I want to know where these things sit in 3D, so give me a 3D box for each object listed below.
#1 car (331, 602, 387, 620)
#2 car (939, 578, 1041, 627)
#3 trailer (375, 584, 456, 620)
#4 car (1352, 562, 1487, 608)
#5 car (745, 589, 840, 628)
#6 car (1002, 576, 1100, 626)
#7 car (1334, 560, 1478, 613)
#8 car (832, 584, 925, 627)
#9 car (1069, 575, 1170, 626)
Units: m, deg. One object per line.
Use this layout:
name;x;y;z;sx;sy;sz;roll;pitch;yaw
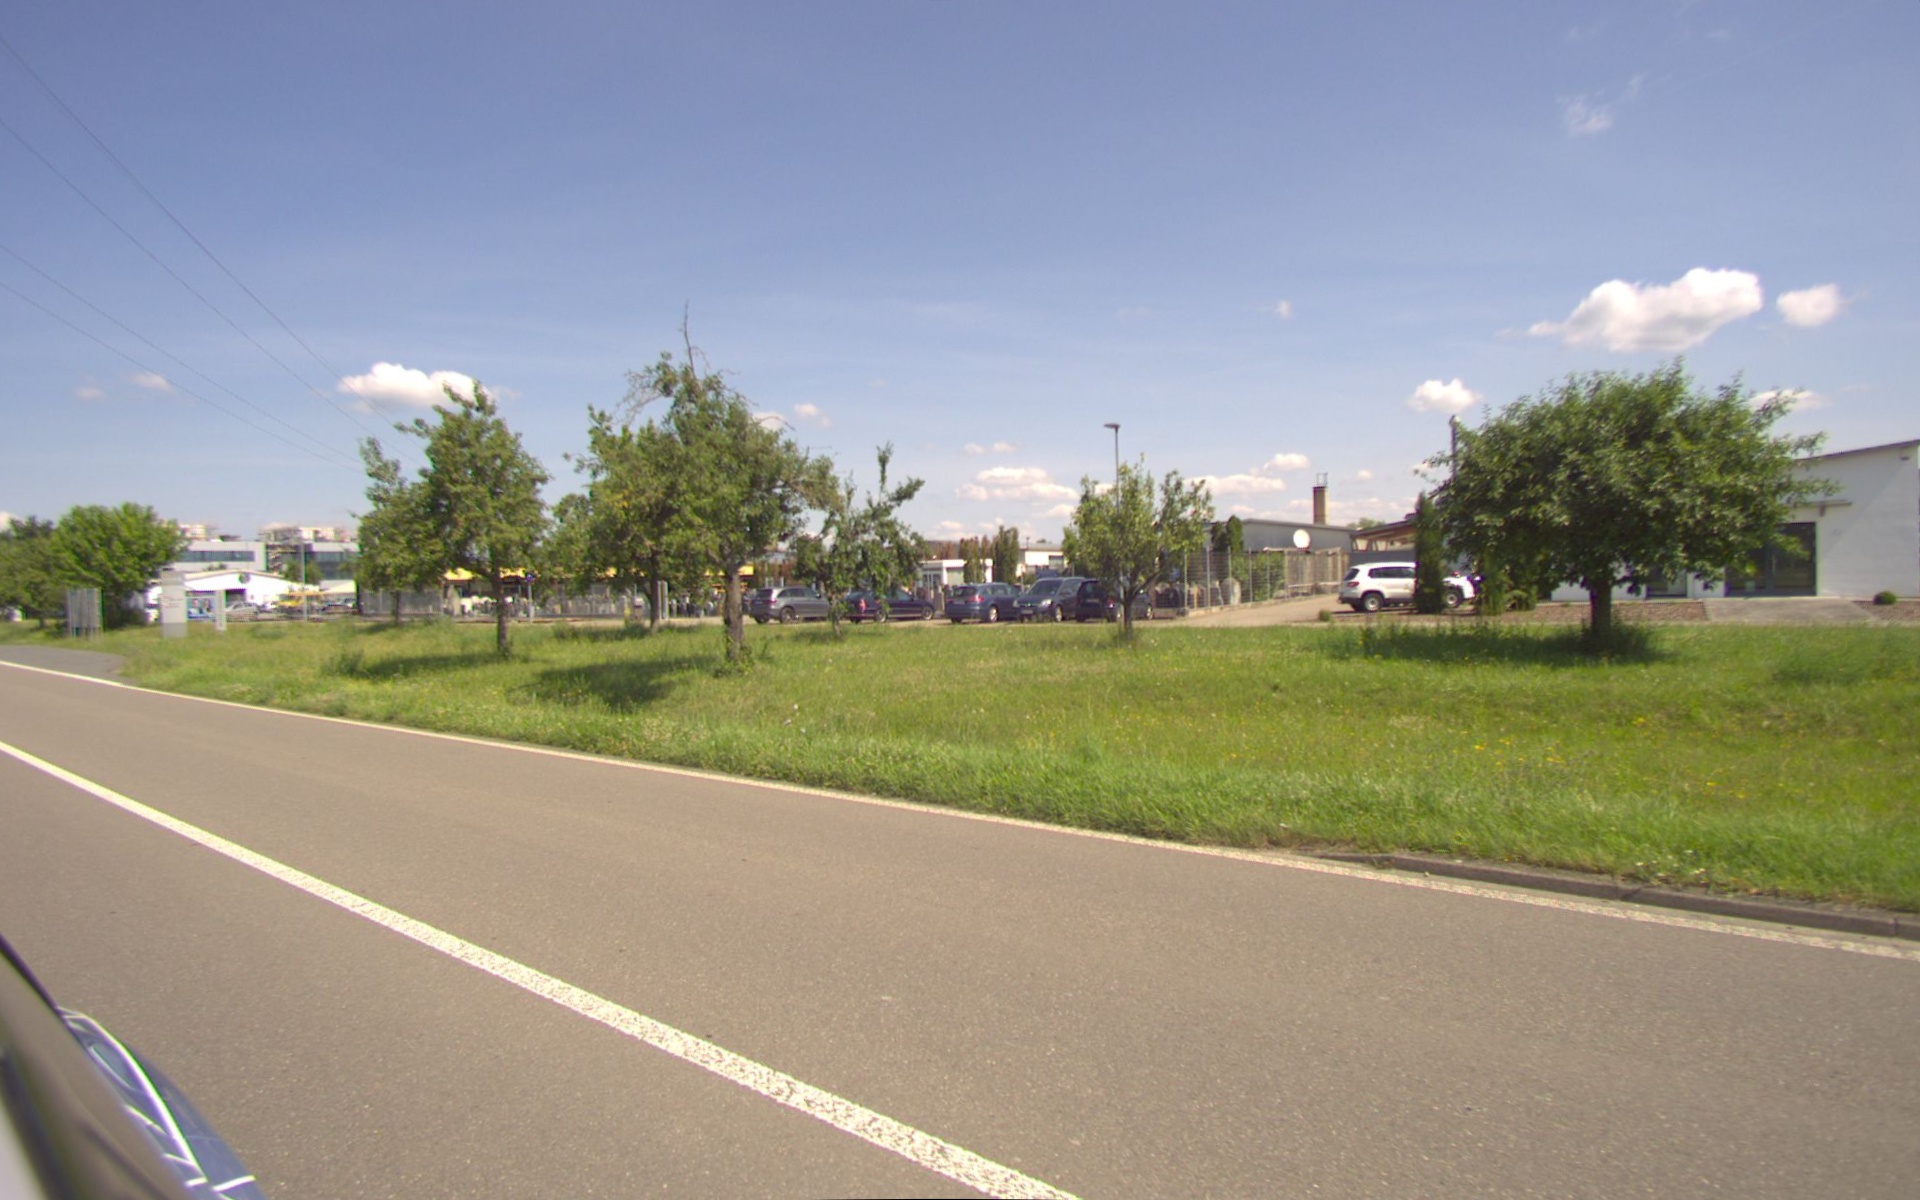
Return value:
car;-56.821;1.011;95.696;4.201;1.497;1.994;-2;1;10
car;1.184;0.085;38.341;1.995;1.652;3.953;-1;1;35
trailer;-47.323;0.182;88.016;2.733;2.846;5.517;-1;1;34
car;17.195;-0.564;38.064;4.118;1.540;1.997;-2;1;6
car;-7.416;0.347;45.105;1.995;1.539;3.953;-1;1;35
car;3.407;0.028;37.467;1.854;1.652;3.953;-1;1;35
car;15.438;-0.479;35.242;4.118;1.652;1.997;-2;1;6
car;-3.303;0.216;41.864;1.662;1.566;3.953;-1;1;35
car;5.763;-0.016;36.229;1.995;1.652;3.953;-2;1;35
